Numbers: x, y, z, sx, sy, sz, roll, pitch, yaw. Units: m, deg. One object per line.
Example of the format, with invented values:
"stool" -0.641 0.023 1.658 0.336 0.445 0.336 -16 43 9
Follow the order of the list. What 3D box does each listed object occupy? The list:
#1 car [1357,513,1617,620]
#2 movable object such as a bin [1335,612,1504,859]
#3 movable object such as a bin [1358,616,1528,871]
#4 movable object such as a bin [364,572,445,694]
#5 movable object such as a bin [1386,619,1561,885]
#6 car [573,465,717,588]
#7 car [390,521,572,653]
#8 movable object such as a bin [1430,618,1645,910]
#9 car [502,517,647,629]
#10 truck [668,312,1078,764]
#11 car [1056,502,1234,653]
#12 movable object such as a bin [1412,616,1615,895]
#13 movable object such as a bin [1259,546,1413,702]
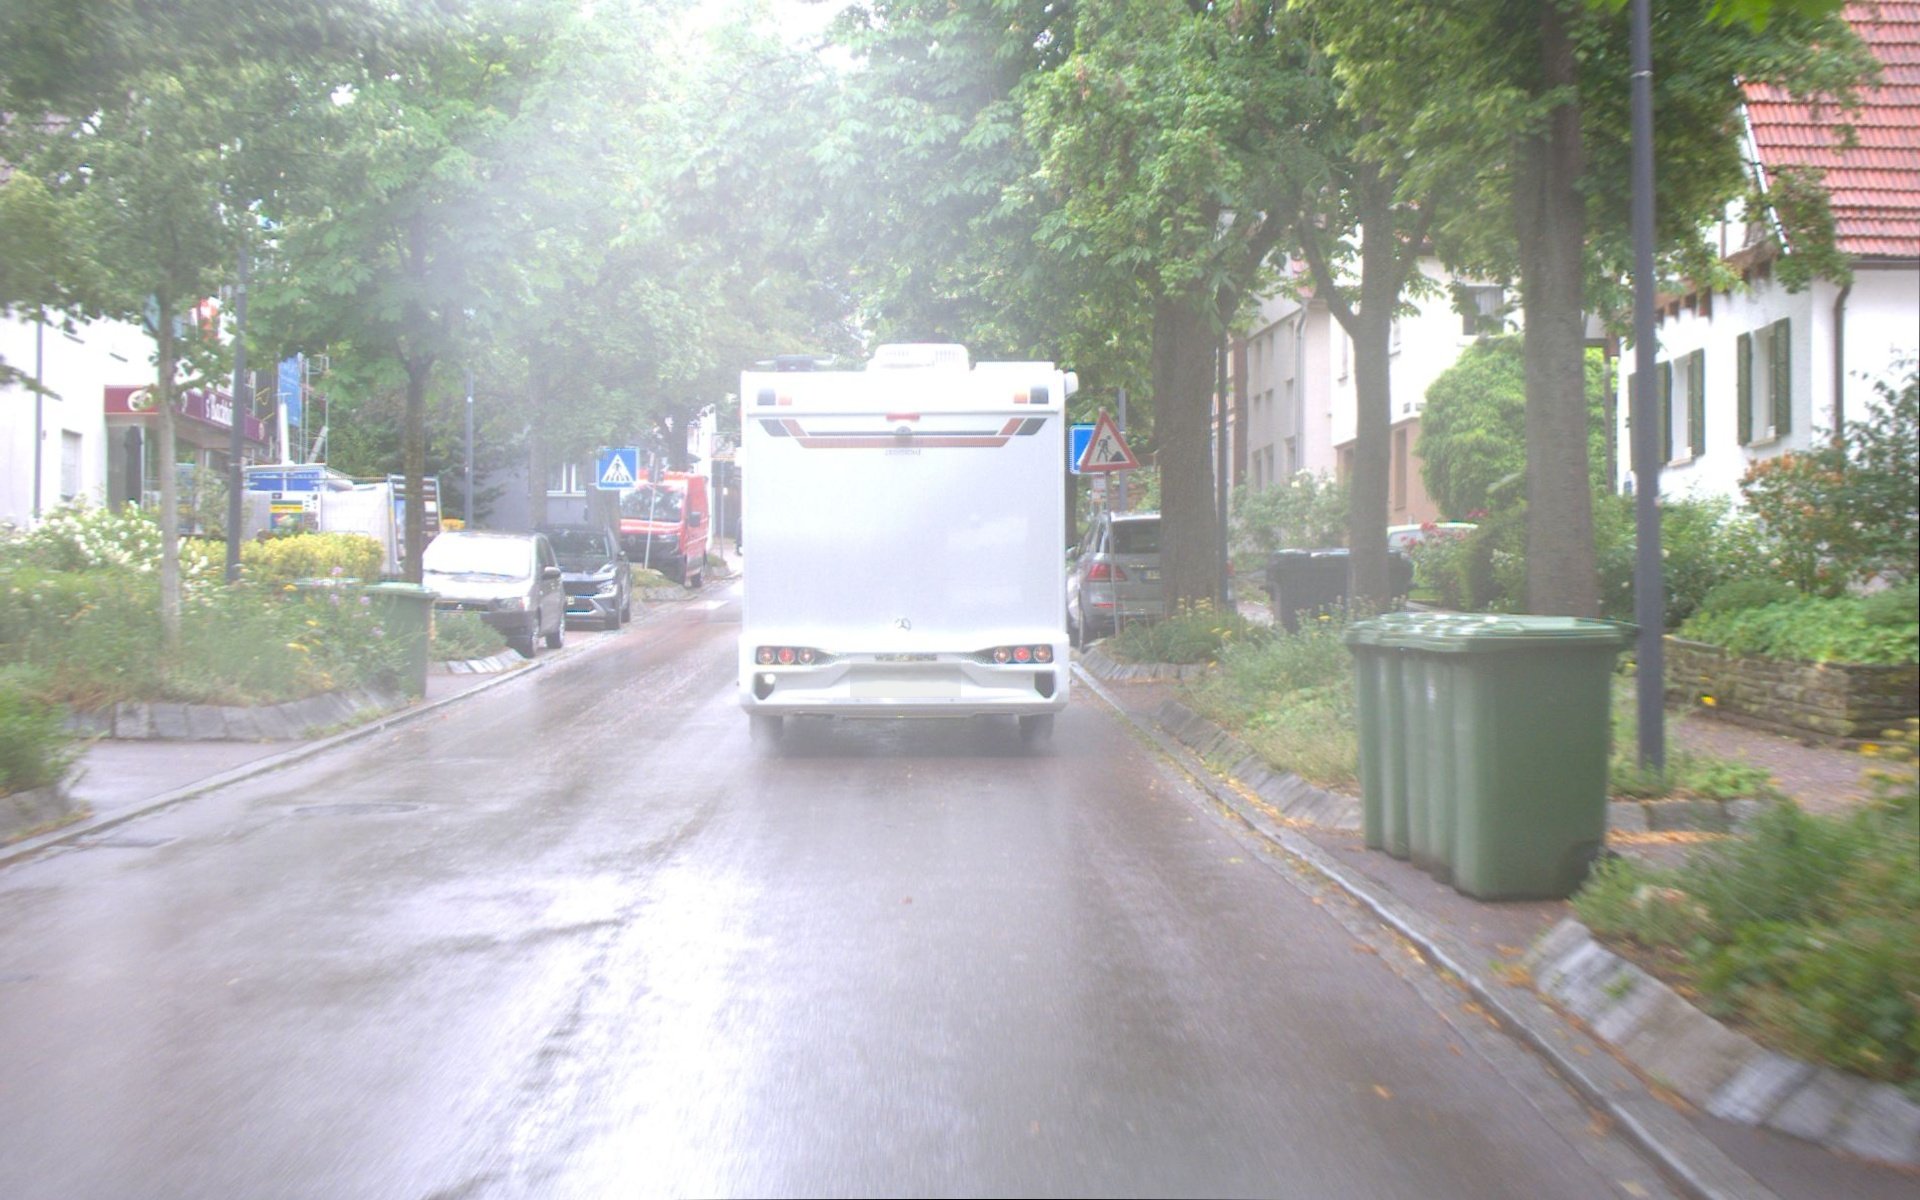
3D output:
"car" 7.480 -0.489 48.980 3.364 1.425 1.631 -1 1 -4
"movable object such as a bin" 2.064 0.604 15.485 0.643 1.079 0.541 1 1 -4
"movable object such as a bin" 2.095 0.617 14.937 0.630 1.079 0.472 1 1 -4
"movable object such as a bin" -5.120 0.300 31.691 0.643 1.107 0.536 0 2 1
"movable object such as a bin" 2.144 0.628 14.395 0.609 1.079 0.513 1 1 -4
"car" -6.611 -1.600 72.758 2.303 2.474 5.785 1 2 2
"car" -5.980 -0.199 43.263 1.647 1.528 3.866 1 2 1
"movable object such as a bin" 2.200 0.618 13.149 0.688 1.079 0.541 1 1 -4
"car" -5.844 -0.443 52.534 1.771 1.548 4.001 2 2 -1
"truck" -0.618 -0.458 25.974 2.694 2.975 6.237 1 1 -1
"car" 2.273 -0.318 43.332 1.914 1.786 4.489 1 1 -1
"movable object such as a bin" 2.202 0.609 13.721 0.688 1.079 0.541 0 1 -4
"movable object such as a bin" 3.232 0.197 29.678 1.225 1.311 1.134 0 1 2
